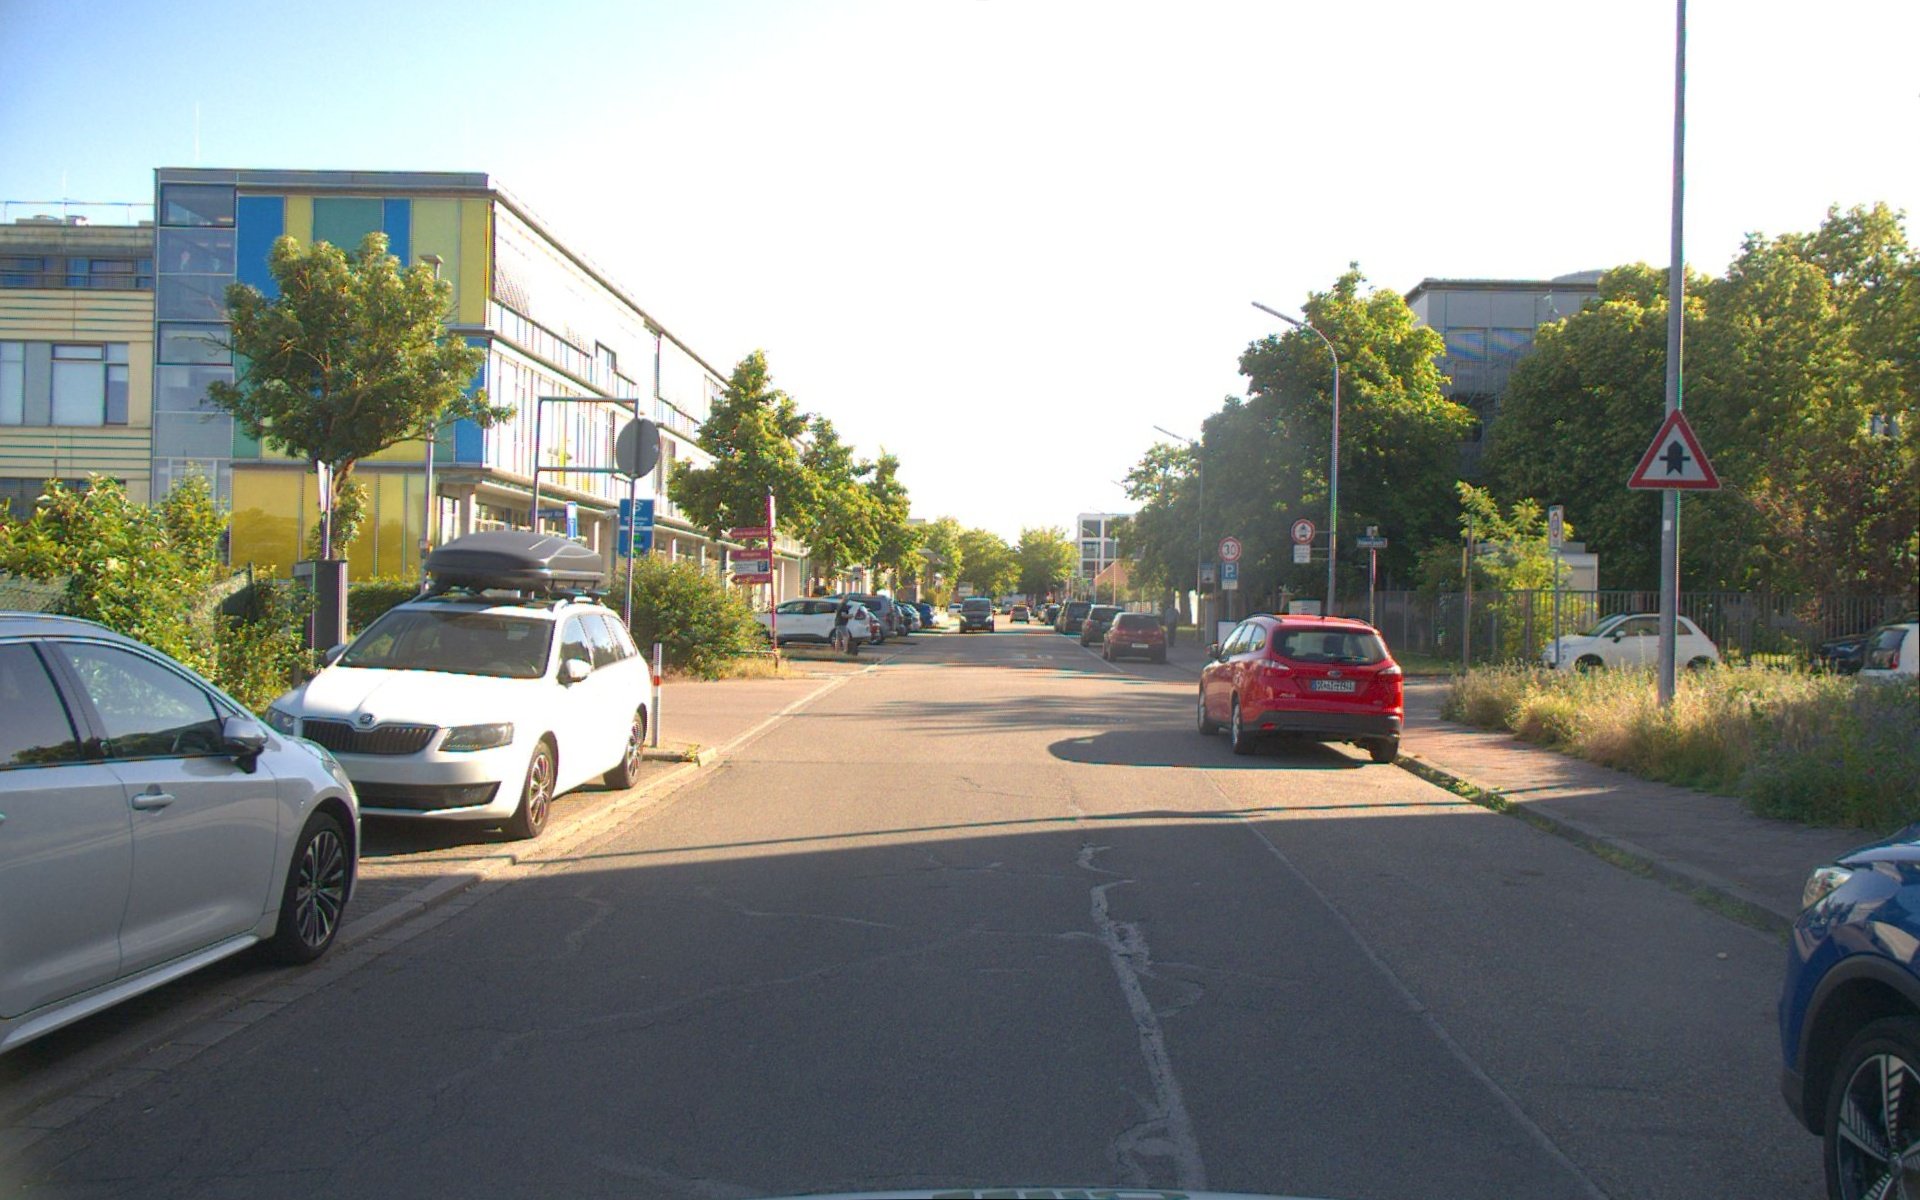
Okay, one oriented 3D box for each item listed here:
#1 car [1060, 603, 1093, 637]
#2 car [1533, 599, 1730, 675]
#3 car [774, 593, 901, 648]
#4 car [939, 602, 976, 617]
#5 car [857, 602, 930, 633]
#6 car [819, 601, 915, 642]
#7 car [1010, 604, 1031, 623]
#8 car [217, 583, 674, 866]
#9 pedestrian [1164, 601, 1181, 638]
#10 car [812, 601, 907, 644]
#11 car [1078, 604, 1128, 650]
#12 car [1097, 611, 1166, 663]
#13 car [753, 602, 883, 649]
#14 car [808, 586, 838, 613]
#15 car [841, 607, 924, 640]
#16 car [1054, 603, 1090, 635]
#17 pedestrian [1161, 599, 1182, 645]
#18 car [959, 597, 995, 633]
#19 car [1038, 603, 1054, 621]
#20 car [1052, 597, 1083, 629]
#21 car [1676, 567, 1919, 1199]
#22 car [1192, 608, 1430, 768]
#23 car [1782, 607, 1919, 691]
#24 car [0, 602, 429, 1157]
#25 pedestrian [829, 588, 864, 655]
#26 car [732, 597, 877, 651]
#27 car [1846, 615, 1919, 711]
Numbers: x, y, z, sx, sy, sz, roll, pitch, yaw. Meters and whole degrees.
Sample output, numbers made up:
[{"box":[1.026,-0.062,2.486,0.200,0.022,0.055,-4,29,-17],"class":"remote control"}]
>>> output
[{"box":[6.474,1.093,92.249,1.697,1.862,3.906,1,0,2],"class":"car"},{"box":[13.956,0.756,34.507,3.472,1.512,1.601,1,0,2],"class":"car"},{"box":[-4.689,0.773,63.692,4.644,1.897,1.828,2,0,2],"class":"car"},{"box":[-0.272,1.052,180.021,3.904,1.546,2.000,1,-2,2],"class":"car"},{"box":[-3.852,1.018,96.428,4.129,1.631,1.871,2,0,-2],"class":"car"},{"box":[-4.110,0.930,73.630,4.161,1.640,2.047,2,0,-2],"class":"car"},{"box":[5.063,1.157,139.823,1.707,1.570,4.001,1,0,2],"class":"car"},{"box":[-3.349,0.729,11.764,1.661,1.540,4.517,3,0,1],"class":"car"},{"box":[9.983,0.925,77.614,0.684,1.690,0.752,-2,-1,1],"class":"pedestrian"},{"box":[-4.268,0.950,70.677,3.907,1.635,1.871,2,0,-2],"class":"car"},{"box":[5.780,1.069,67.292,1.774,1.695,4.594,2,1,3],"class":"car"},{"box":[5.272,1.119,51.255,1.684,1.480,4.652,2,0,1],"class":"car"},{"box":[-4.949,0.896,58.047,4.342,1.527,1.828,1,-1,2],"class":"car"},{"box":[-11.209,-0.056,135.445,1.952,2.049,4.000,1,-2,1],"class":"car"},{"box":[-3.717,1.120,79.391,3.907,1.382,1.742,2,0,-2],"class":"car"},{"box":[6.649,1.092,98.489,1.952,1.855,4.199,0,0,1],"class":"car"},{"box":[8.275,0.867,64.814,0.703,1.789,0.885,-1,0,2],"class":"pedestrian"},{"box":[0.956,0.837,92.352,1.914,1.900,5.255,1,0,1],"class":"car"},{"box":[7.982,1.089,153.367,1.406,1.588,3.042,1,0,1],"class":"car"},{"box":[6.782,0.807,104.739,1.836,2.013,4.001,0,0,1],"class":"car"},{"box":[2.963,0.776,2.470,1.779,1.627,4.627,3,0,1],"class":"car"},{"box":[3.841,0.895,18.856,1.781,1.526,4.452,3,0,1],"class":"car"},{"box":[19.495,1.005,34.263,4.066,1.666,1.756,1,0,2],"class":"car"},{"box":[-3.444,0.771,5.467,1.711,1.471,4.542,2,0,2],"class":"car"},{"box":[-3.283,0.619,48.001,0.840,1.874,0.826,3,0,3],"class":"pedestrian"},{"box":[-5.179,0.801,55.384,4.514,1.680,1.868,1,-1,5],"class":"car"},{"box":[16.246,0.997,26.463,3.256,1.484,1.716,1,0,7],"class":"car"}]
